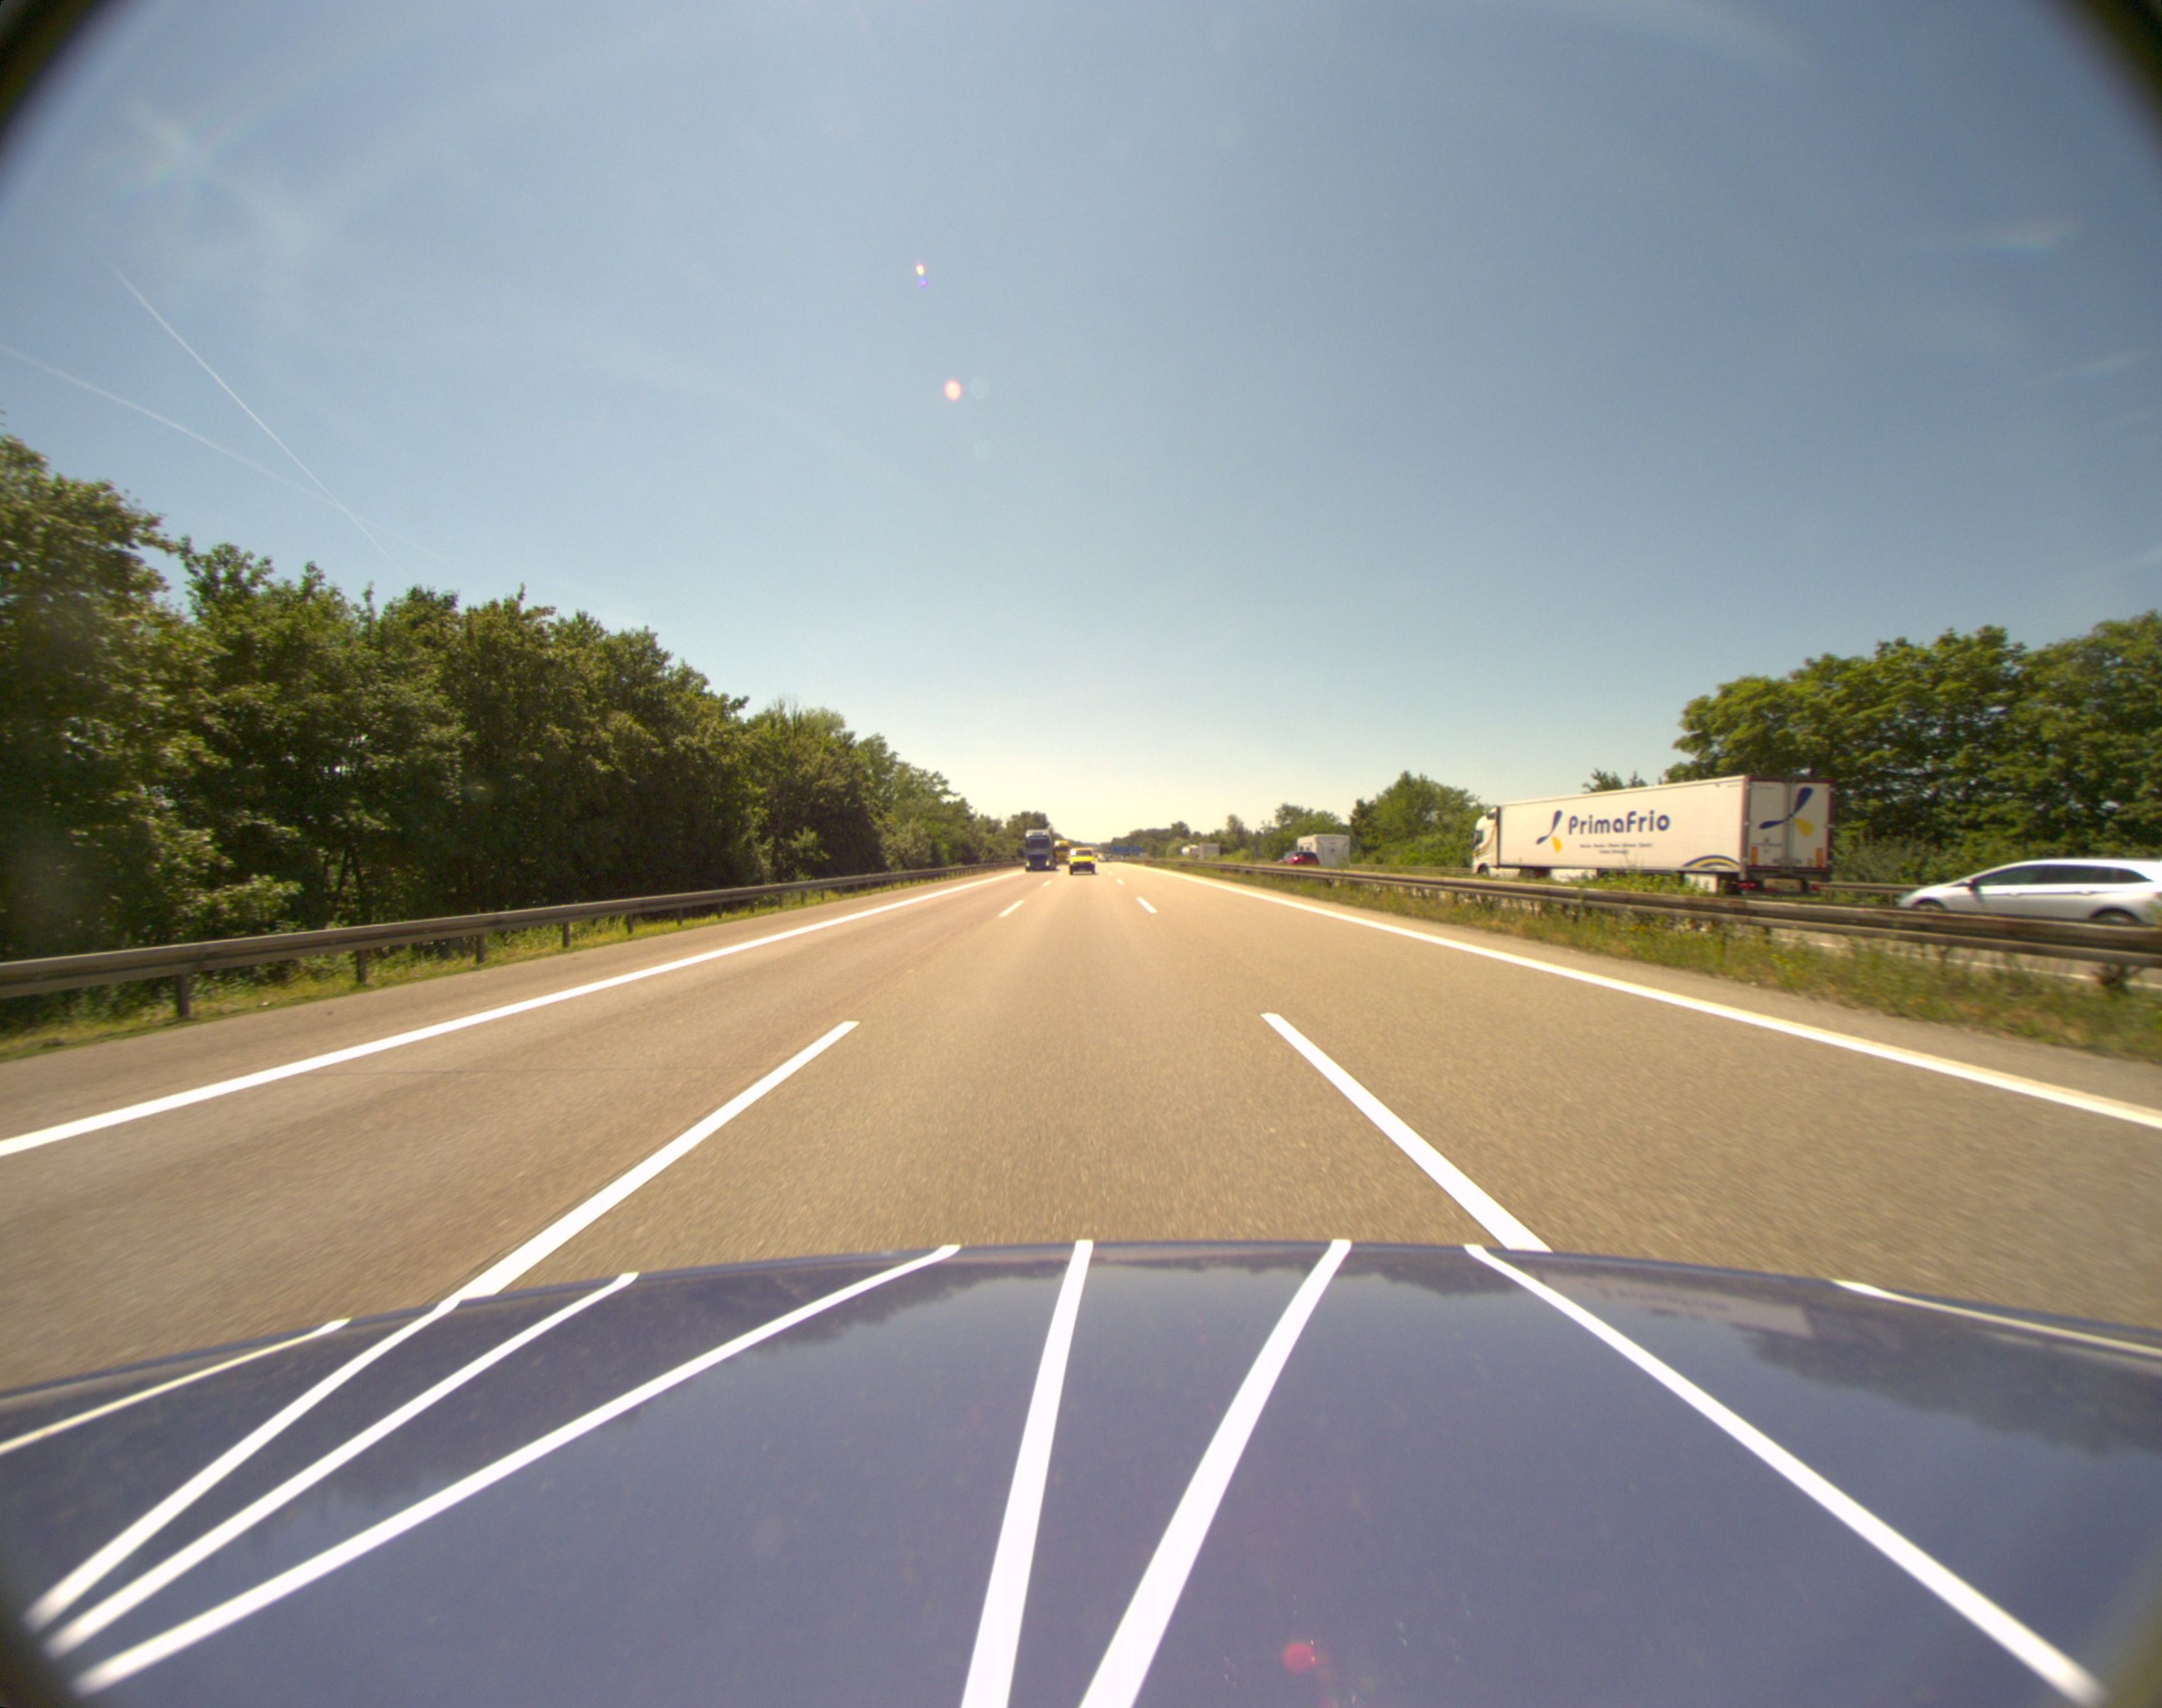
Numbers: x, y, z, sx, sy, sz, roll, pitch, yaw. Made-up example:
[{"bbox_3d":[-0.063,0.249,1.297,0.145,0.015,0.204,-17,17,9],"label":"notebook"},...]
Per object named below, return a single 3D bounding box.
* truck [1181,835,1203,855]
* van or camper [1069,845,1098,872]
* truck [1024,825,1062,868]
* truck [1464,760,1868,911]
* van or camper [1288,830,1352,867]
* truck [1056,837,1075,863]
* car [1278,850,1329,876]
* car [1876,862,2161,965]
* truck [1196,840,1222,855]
[{"bbox_3d":[23.812,-1.935,163.818,2.735,4.029,15.936,0,0,1],"label":"truck"},{"bbox_3d":[0.158,0.341,56.122,1.998,1.898,4.971,-2,0,0],"label":"van or camper"},{"bbox_3d":[-3.707,-0.703,78.130,2.977,3.934,16.612,-2,0,0],"label":"truck"},{"bbox_3d":[21.688,-0.587,31.150,3.224,4.352,17.191,3,0,1],"label":"truck"},{"bbox_3d":[17.667,-0.383,56.673,2.474,2.545,7.808,0,0,1],"label":"van or camper"},{"bbox_3d":[-2.666,-0.717,132.943,2.852,4.232,16.790,0,0,0],"label":"truck"},{"bbox_3d":[13.603,0.535,46.664,1.998,1.510,4.000,0,0,1],"label":"car"},{"bbox_3d":[17.415,0.933,13.227,1.998,1.475,4.945,0,0,1],"label":"car"},{"bbox_3d":[18.135,-0.842,107.727,2.735,2.055,7.138,0,0,2],"label":"truck"}]
